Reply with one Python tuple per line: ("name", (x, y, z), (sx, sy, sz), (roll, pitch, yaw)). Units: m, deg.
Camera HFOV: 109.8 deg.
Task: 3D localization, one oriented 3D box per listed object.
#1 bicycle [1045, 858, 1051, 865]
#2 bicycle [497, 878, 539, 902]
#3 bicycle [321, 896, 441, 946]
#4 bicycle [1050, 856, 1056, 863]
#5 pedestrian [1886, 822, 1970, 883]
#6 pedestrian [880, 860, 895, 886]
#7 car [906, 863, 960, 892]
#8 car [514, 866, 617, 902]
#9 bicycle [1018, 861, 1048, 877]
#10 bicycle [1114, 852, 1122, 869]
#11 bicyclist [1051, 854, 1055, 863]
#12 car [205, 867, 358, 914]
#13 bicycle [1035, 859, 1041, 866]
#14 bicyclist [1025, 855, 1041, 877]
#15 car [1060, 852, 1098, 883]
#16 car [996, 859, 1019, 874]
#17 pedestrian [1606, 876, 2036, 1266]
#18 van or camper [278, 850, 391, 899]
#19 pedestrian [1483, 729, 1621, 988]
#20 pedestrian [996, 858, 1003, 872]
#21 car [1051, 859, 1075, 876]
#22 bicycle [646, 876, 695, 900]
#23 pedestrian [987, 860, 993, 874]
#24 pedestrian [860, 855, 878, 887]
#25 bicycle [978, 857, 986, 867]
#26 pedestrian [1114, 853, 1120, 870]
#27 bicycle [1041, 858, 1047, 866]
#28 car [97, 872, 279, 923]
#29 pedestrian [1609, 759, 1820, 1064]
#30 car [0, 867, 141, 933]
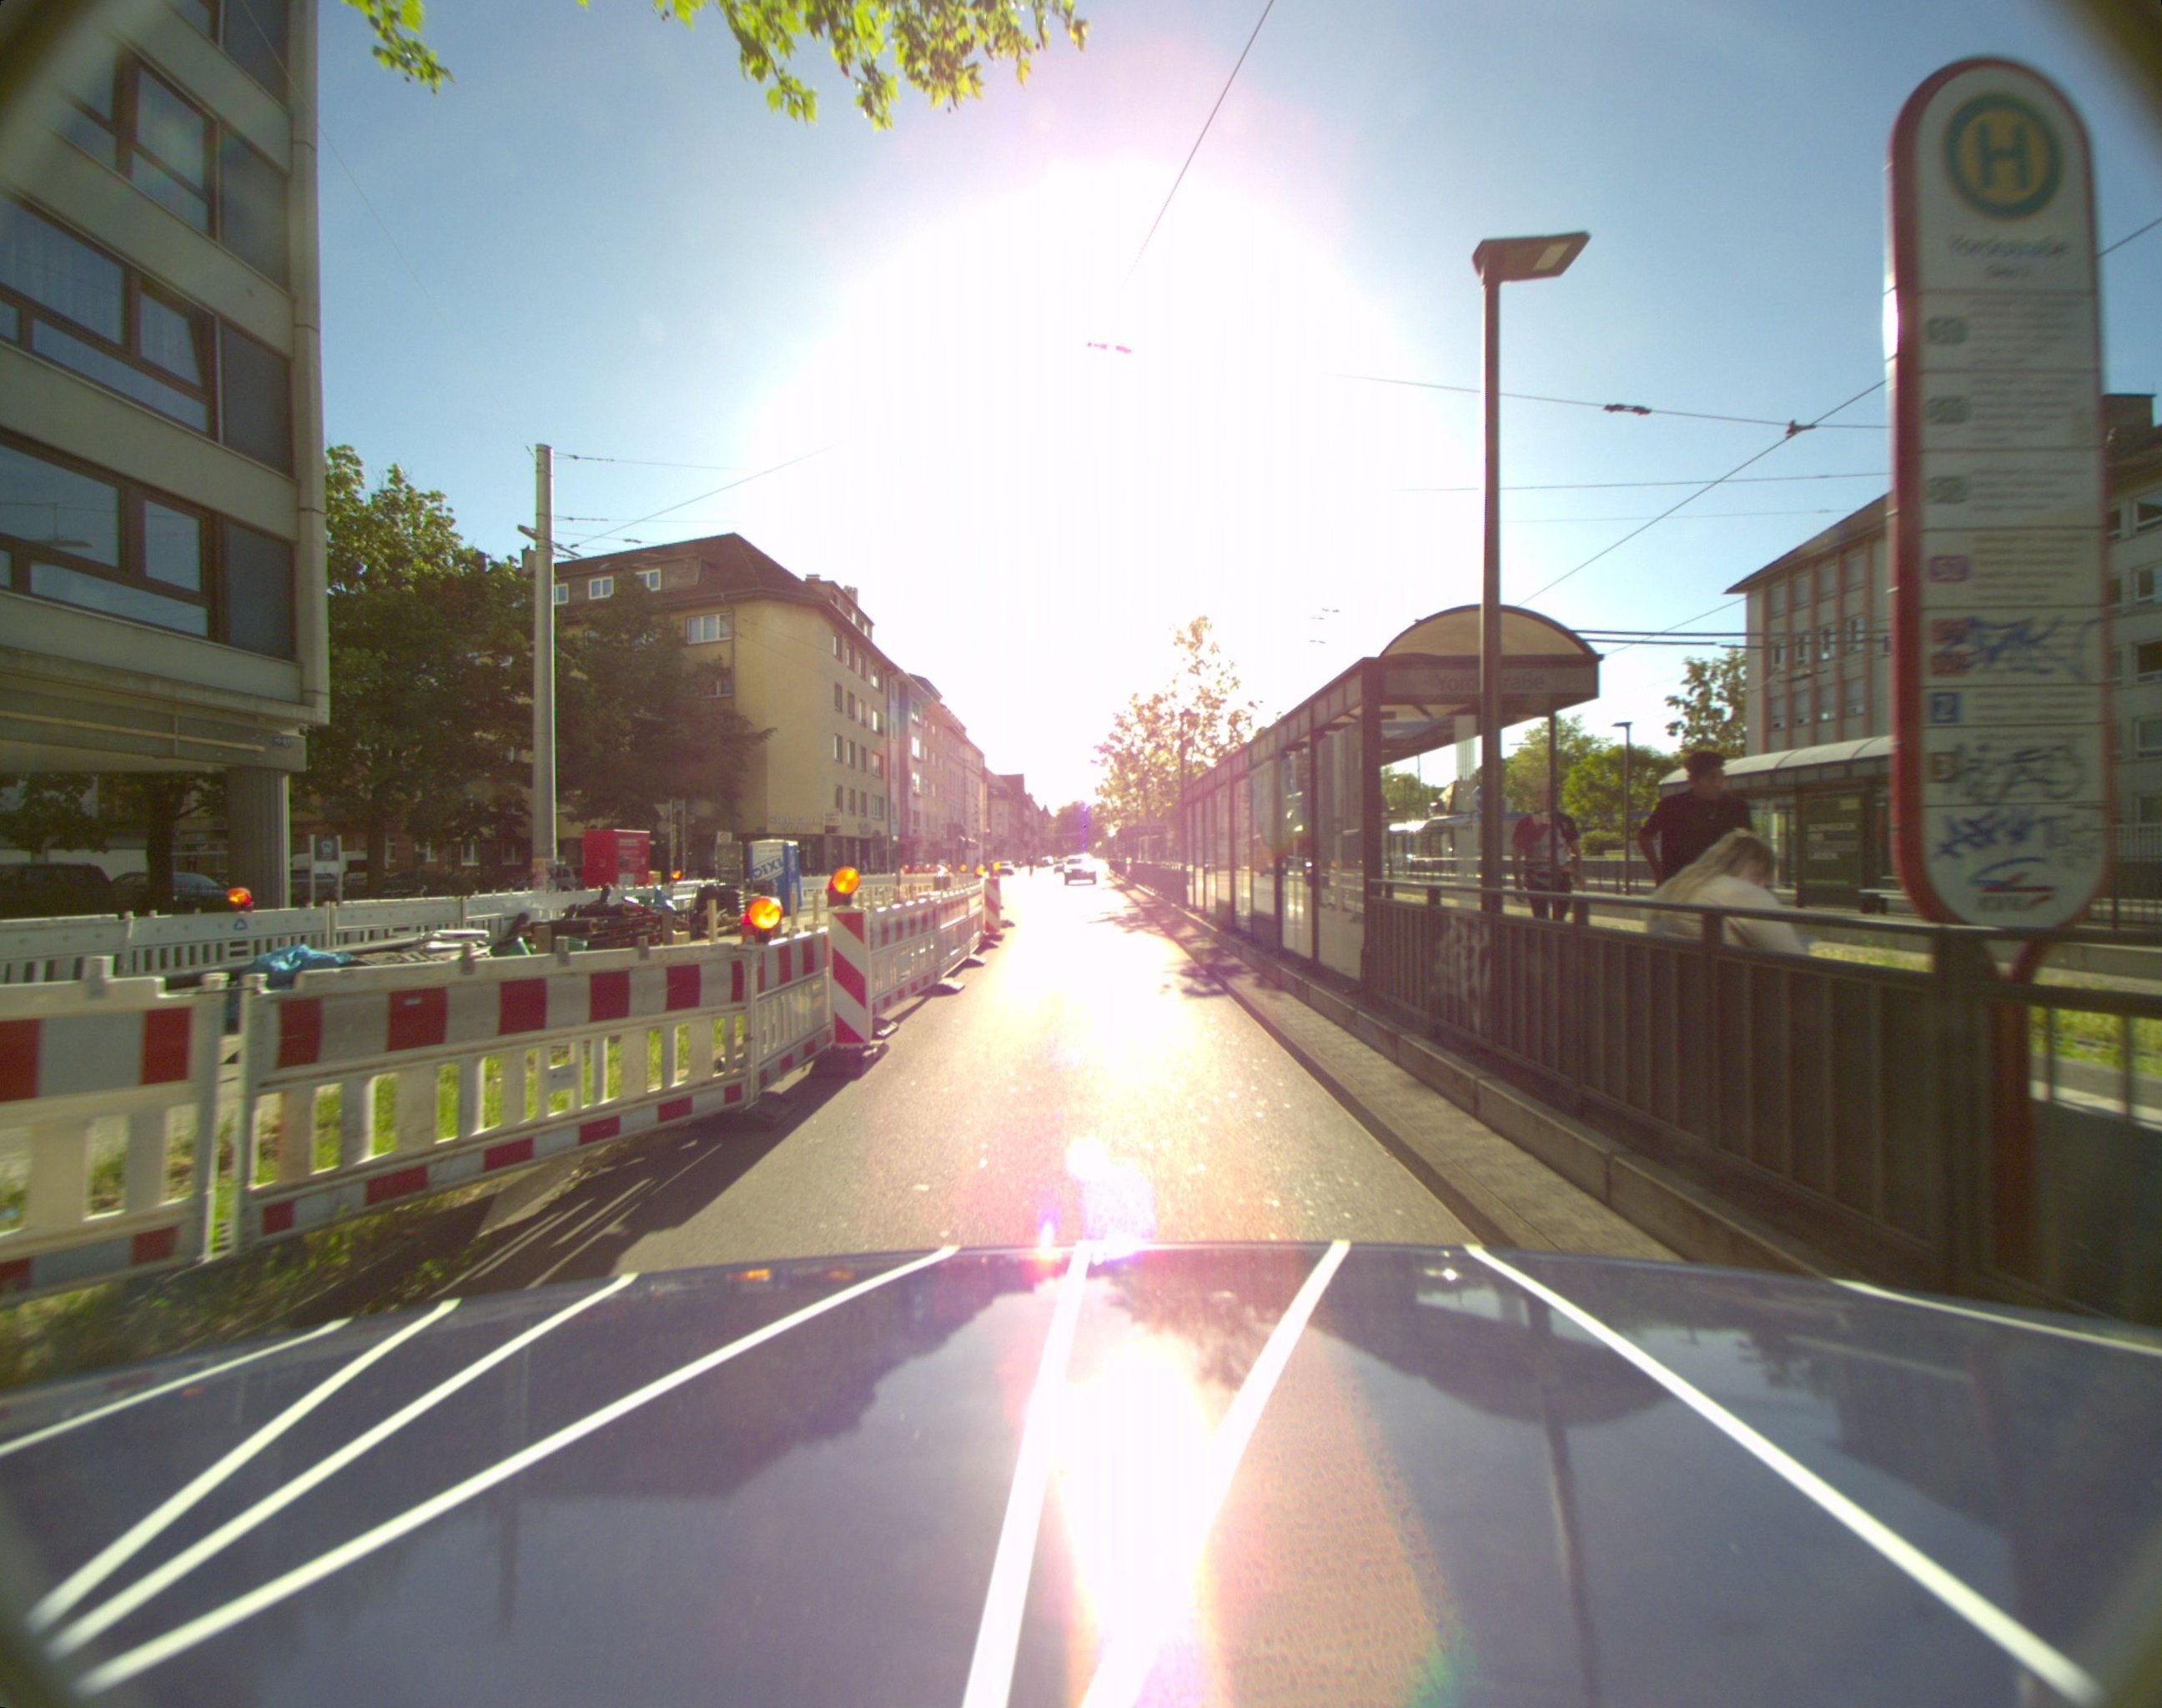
("bicycle", (-5.717, 1.342, 132.976), (0.693, 1.208, 2.299), (-1, 0, 5))
("bicycle", (-27.670, 1.752, 37.383), (0.368, 1.076, 1.828), (-1, 0, 13))
("bicycle", (-14.771, 1.400, 16.042), (2.030, 0.937, 1.019), (-1, 0, 20))
("bicycle", (-4.952, 0.999, 134.921), (0.693, 1.208, 2.299), (-1, 0, 5))
("pedestrian", (19.867, -0.027, 17.836), (0.977, 1.368, 0.879), (-1, 0, 0))
("pedestrian", (-11.680, 1.143, 45.828), (0.672, 1.498, 0.652), (-1, 1, 1))
("car", (-8.228, 1.278, 42.720), (1.876, 1.434, 5.159), (-1, 0, 2))
("car", (-24.500, 1.392, 36.116), (4.238, 1.632, 2.003), (-1, -1, 22))
("bicycle", (-4.262, 1.337, 67.527), (2.382, 1.349, 1.021), (-1, 0, -26))
("bicycle", (3.126, 0.563, 63.880), (0.641, 1.371, 2.170), (-1, 0, 2))
("bicyclist", (-4.949, 0.762, 135.007), (0.696, 1.596, 0.745), (-1, 1, 5))
("car", (-27.485, 1.219, 26.152), (4.368, 1.477, 1.993), (-1, 0, 20))
("bicycle", (-7.458, 1.549, 133.344), (0.693, 1.208, 2.299), (-1, 0, 5))
("bicyclist", (-4.271, 1.077, 67.515), (1.005, 1.872, 0.991), (-1, 1, -26))
("car", (-0.067, 0.771, 44.518), (1.979, 1.660, 4.621), (-2, 0, 2))
("car", (-7.549, 1.280, 78.113), (1.904, 1.421, 4.716), (-3, 0, -1))
("pedestrian", (2.576, 0.685, 2.762), (0.754, 1.172, 0.812), (-2, 0, 0))
("van or camper", (-40.390, 1.107, 41.130), (5.342, 2.533, 2.102), (-1, 0, 18))
("pedestrian", (3.856, 0.040, 6.272), (0.669, 2.002, 0.716), (-2, 0, 2))
("pedestrian", (-10.328, 1.410, 96.524), (0.775, 1.680, 0.800), (-2, -2, -2))
("car", (-1.840, 1.327, 77.672), (1.998, 1.594, 4.274), (-1, 0, 4))
("bicycle", (-18.471, 1.511, 34.214), (0.368, 0.998, 1.947), (-1, 0, 37))
("pedestrian", (-11.623, 1.647, 96.746), (0.663, 1.680, 0.677), (-1, 1, 0))
("pedestrian", (-12.813, 1.006, 45.858), (0.730, 1.844, 0.901), (-1, 2, 3))
("bicycle", (-11.185, 0.937, 85.734), (0.697, 1.102, 1.863), (-1, 0, -14))
("pedestrian", (4.000, 0.813, 84.906), (0.637, 1.817, 0.776), (-1, 1, 4))
("bicycle", (-6.428, 1.387, 133.005), (0.693, 1.208, 2.299), (-1, 0, 5))
("car", (-27.663, 1.328, 23.570), (4.270, 1.410, 2.096), (-1, 0, 17))
("pedestrian", (3.978, 0.343, 4.834), (0.683, 1.773, 0.754), (-2, 0, 2))
("car", (-28.554, 1.212, 20.744), (4.224, 1.595, 2.158), (-1, 0, 17))
